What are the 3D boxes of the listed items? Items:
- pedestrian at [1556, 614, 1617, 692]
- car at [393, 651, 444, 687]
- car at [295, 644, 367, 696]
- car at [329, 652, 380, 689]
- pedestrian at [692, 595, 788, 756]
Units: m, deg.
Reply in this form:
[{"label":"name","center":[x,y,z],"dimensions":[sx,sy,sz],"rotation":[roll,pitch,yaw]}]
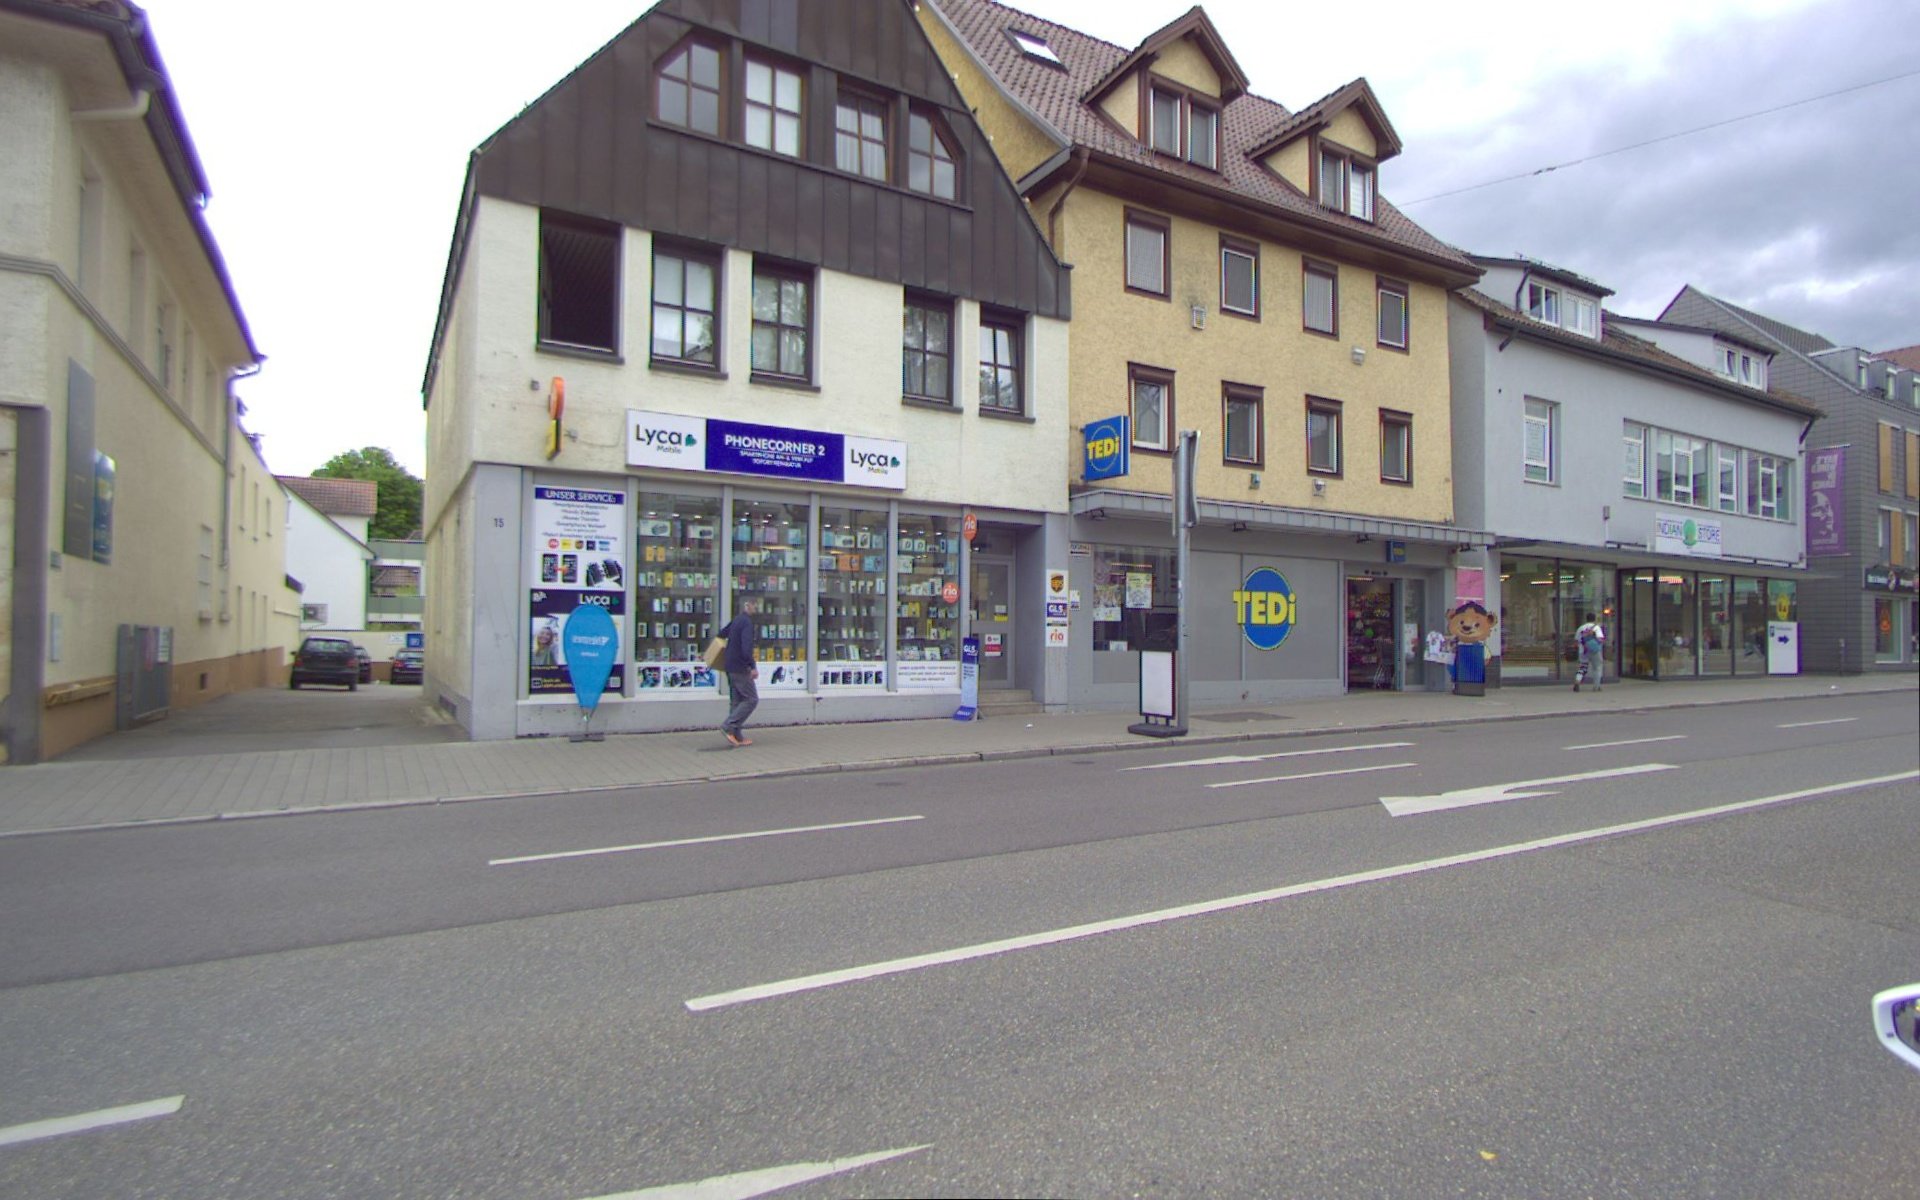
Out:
[{"label":"pedestrian","center":[13.898,1.158,22.275],"dimensions":[0.971,1.656,0.811],"rotation":[1,1,-36]},{"label":"car","center":[-23.471,2.949,43.486],"dimensions":[1.747,1.447,3.889],"rotation":[1,-2,-31]},{"label":"car","center":[-19.014,2.069,30.438],"dimensions":[1.747,1.447,3.889],"rotation":[1,-2,-31]},{"label":"car","center":[-25.526,2.934,42.358],"dimensions":[1.747,1.447,3.889],"rotation":[1,-2,-31]},{"label":"pedestrian","center":[-2.581,0.840,11.748],"dimensions":[0.799,1.770,0.860],"rotation":[0,2,-37]}]
